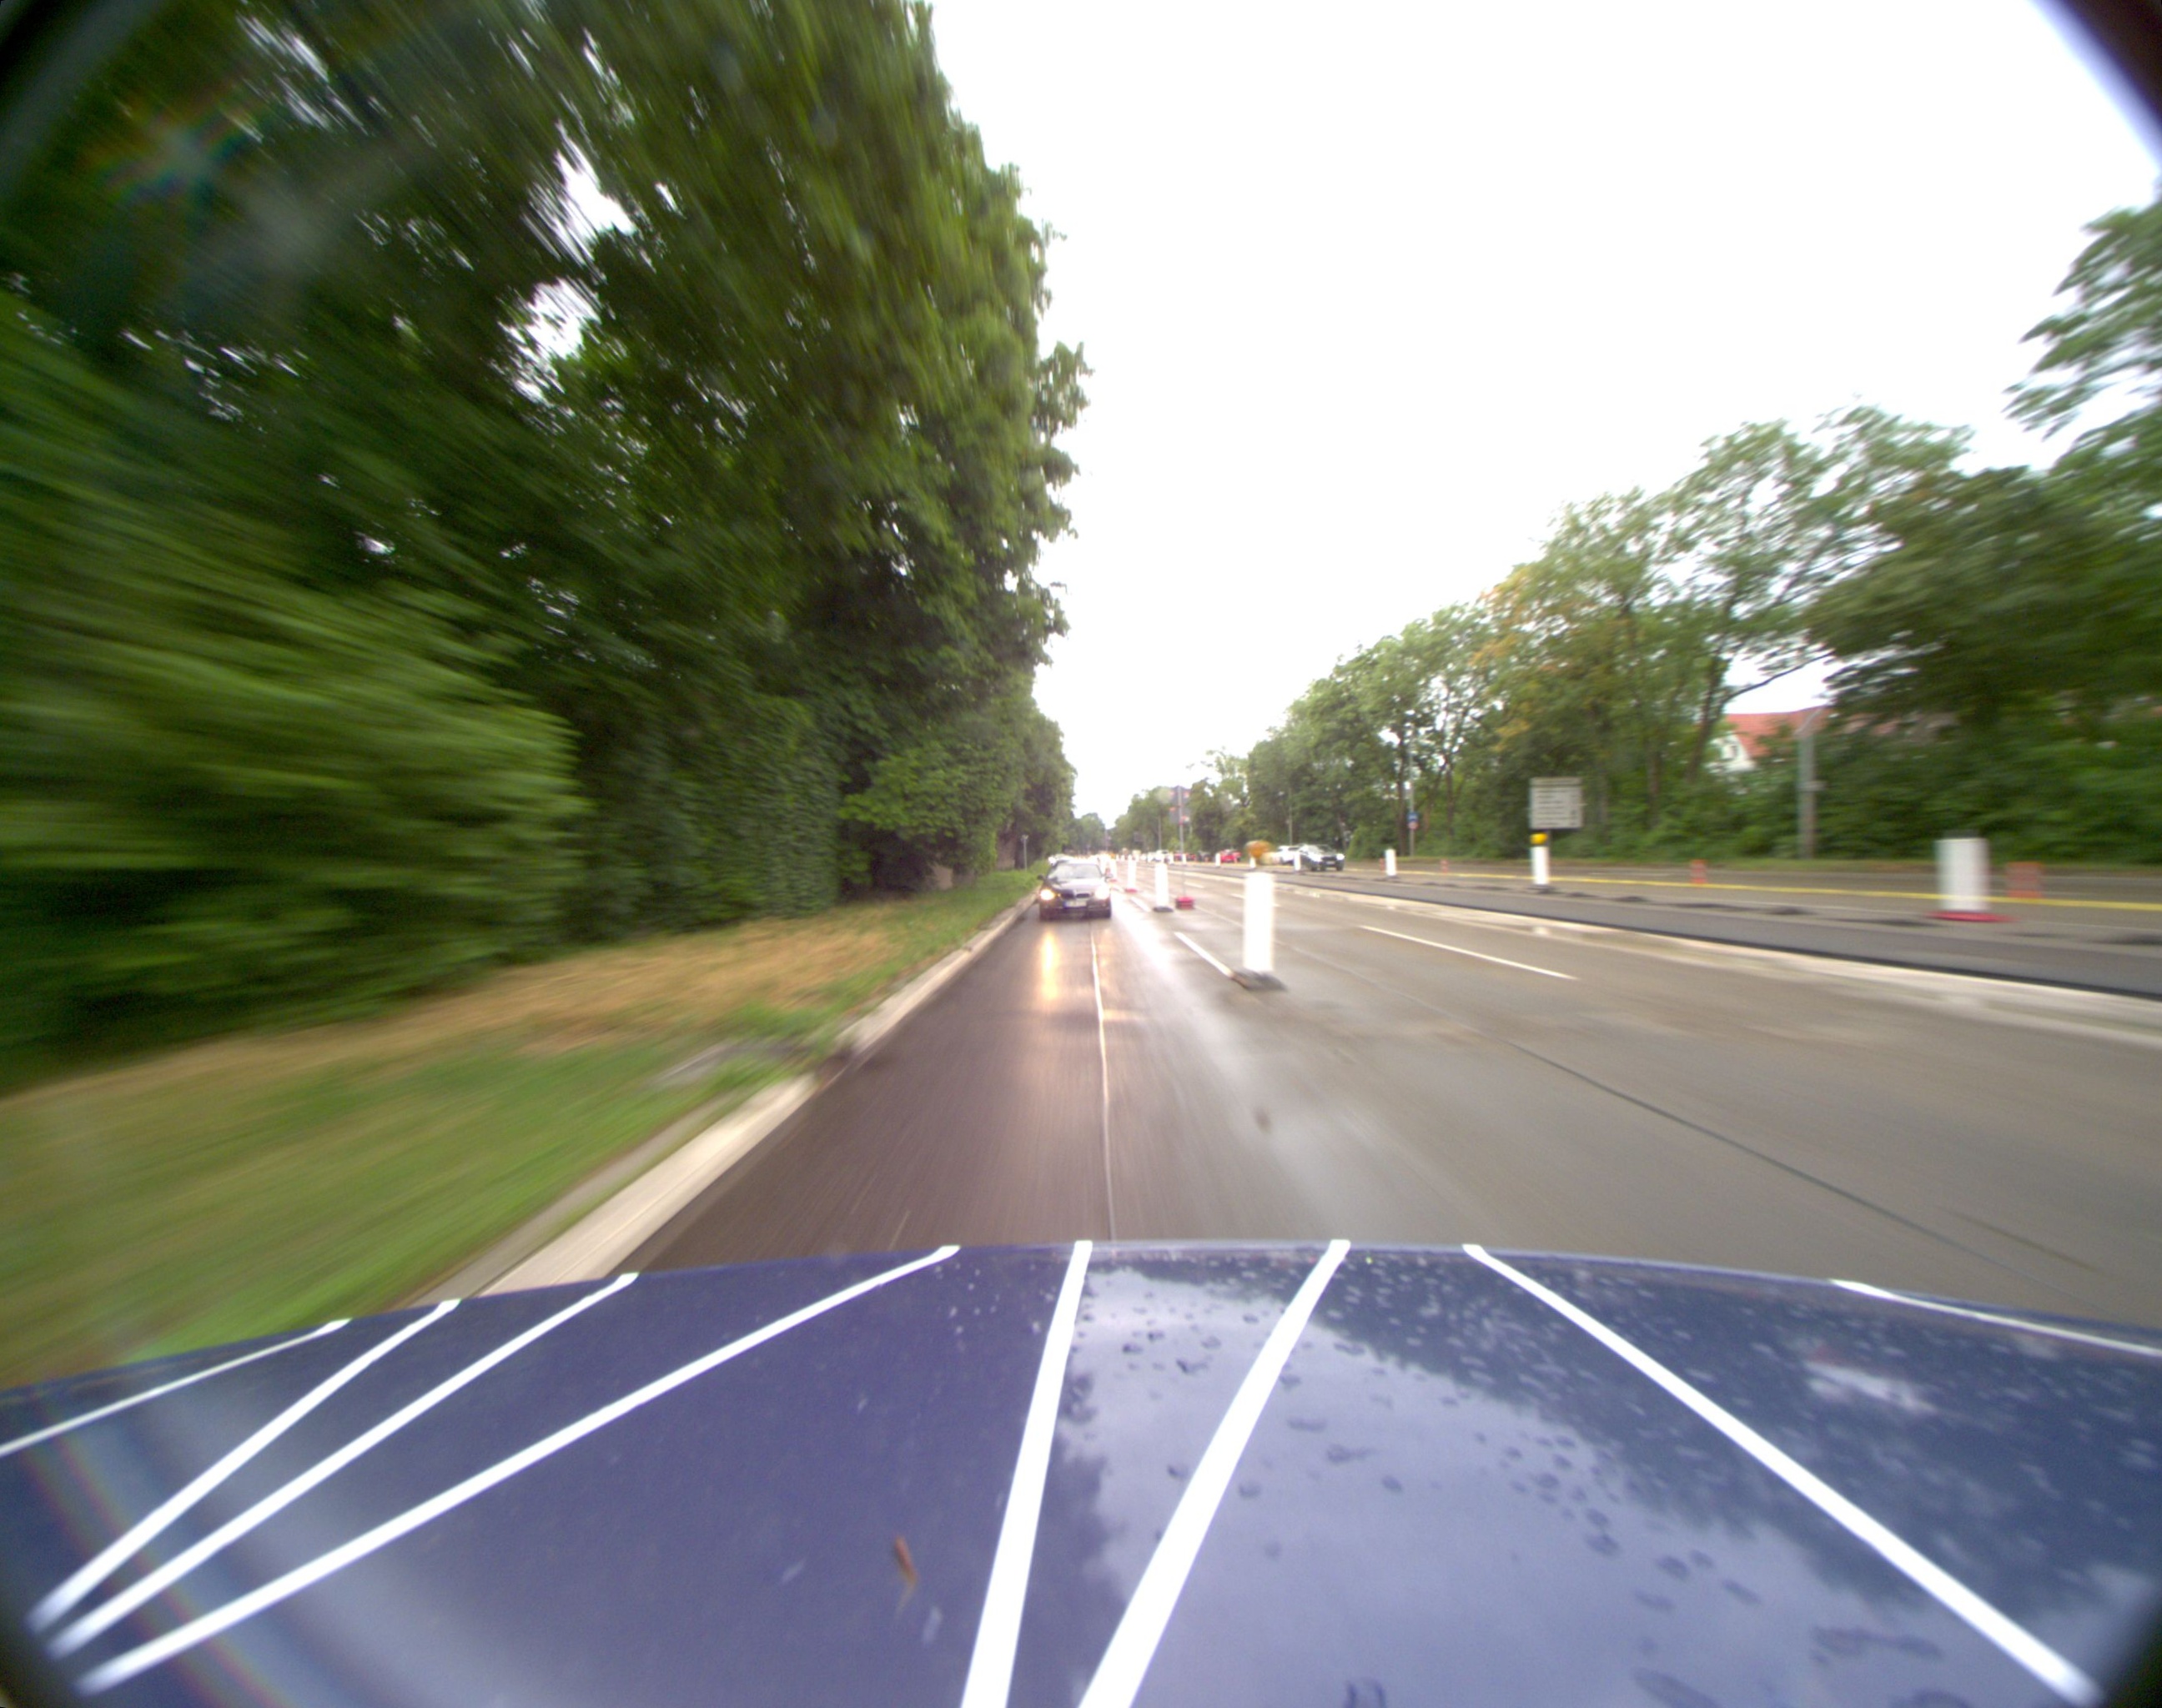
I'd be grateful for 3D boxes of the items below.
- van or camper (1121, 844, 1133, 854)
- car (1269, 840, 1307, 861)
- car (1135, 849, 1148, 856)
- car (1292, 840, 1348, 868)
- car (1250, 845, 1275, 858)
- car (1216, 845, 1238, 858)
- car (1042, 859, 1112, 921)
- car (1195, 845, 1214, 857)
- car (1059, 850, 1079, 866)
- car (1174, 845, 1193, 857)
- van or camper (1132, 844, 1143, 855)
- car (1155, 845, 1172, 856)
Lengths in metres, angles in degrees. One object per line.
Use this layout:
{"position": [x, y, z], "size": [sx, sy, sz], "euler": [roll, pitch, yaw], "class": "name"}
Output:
{"position": [13.933, -1.547, 231.247], "size": [2.304, 3.044, 7.447], "euler": [-2, 0, -7], "class": "van or camper"}
{"position": [17.908, -0.290, 65.916], "size": [1.895, 1.651, 4.892], "euler": [-2, 0, -1], "class": "car"}
{"position": [12.615, -0.364, 159.194], "size": [1.999, 1.407, 4.391], "euler": [-1, 0, -6], "class": "car"}
{"position": [15.045, -0.040, 48.107], "size": [1.998, 1.619, 4.811], "euler": [-2, 0, 1], "class": "car"}
{"position": [20.043, -0.278, 84.096], "size": [1.683, 1.487, 4.148], "euler": [0, 0, -1], "class": "car"}
{"position": [17.031, -0.328, 88.824], "size": [1.683, 1.392, 4.012], "euler": [-2, 0, -1], "class": "car"}
{"position": [-0.193, 0.868, 20.132], "size": [1.658, 1.409, 4.128], "euler": [0, 0, -3], "class": "car"}
{"position": [16.574, -0.375, 102.073], "size": [1.781, 1.479, 4.196], "euler": [-2, 0, -1], "class": "car"}
{"position": [-1.281, 0.392, 81.566], "size": [1.999, 1.707, 3.999], "euler": [-1, 1, 0], "class": "car"}
{"position": [16.016, -0.504, 118.932], "size": [2.027, 1.715, 5.011], "euler": [-2, 0, -1], "class": "car"}
{"position": [14.798, -1.181, 200.485], "size": [1.999, 2.540, 7.727], "euler": [-3, 0, -2], "class": "van or camper"}
{"position": [14.741, -0.606, 136.063], "size": [1.999, 1.960, 4.901], "euler": [-2, 0, -4], "class": "car"}
